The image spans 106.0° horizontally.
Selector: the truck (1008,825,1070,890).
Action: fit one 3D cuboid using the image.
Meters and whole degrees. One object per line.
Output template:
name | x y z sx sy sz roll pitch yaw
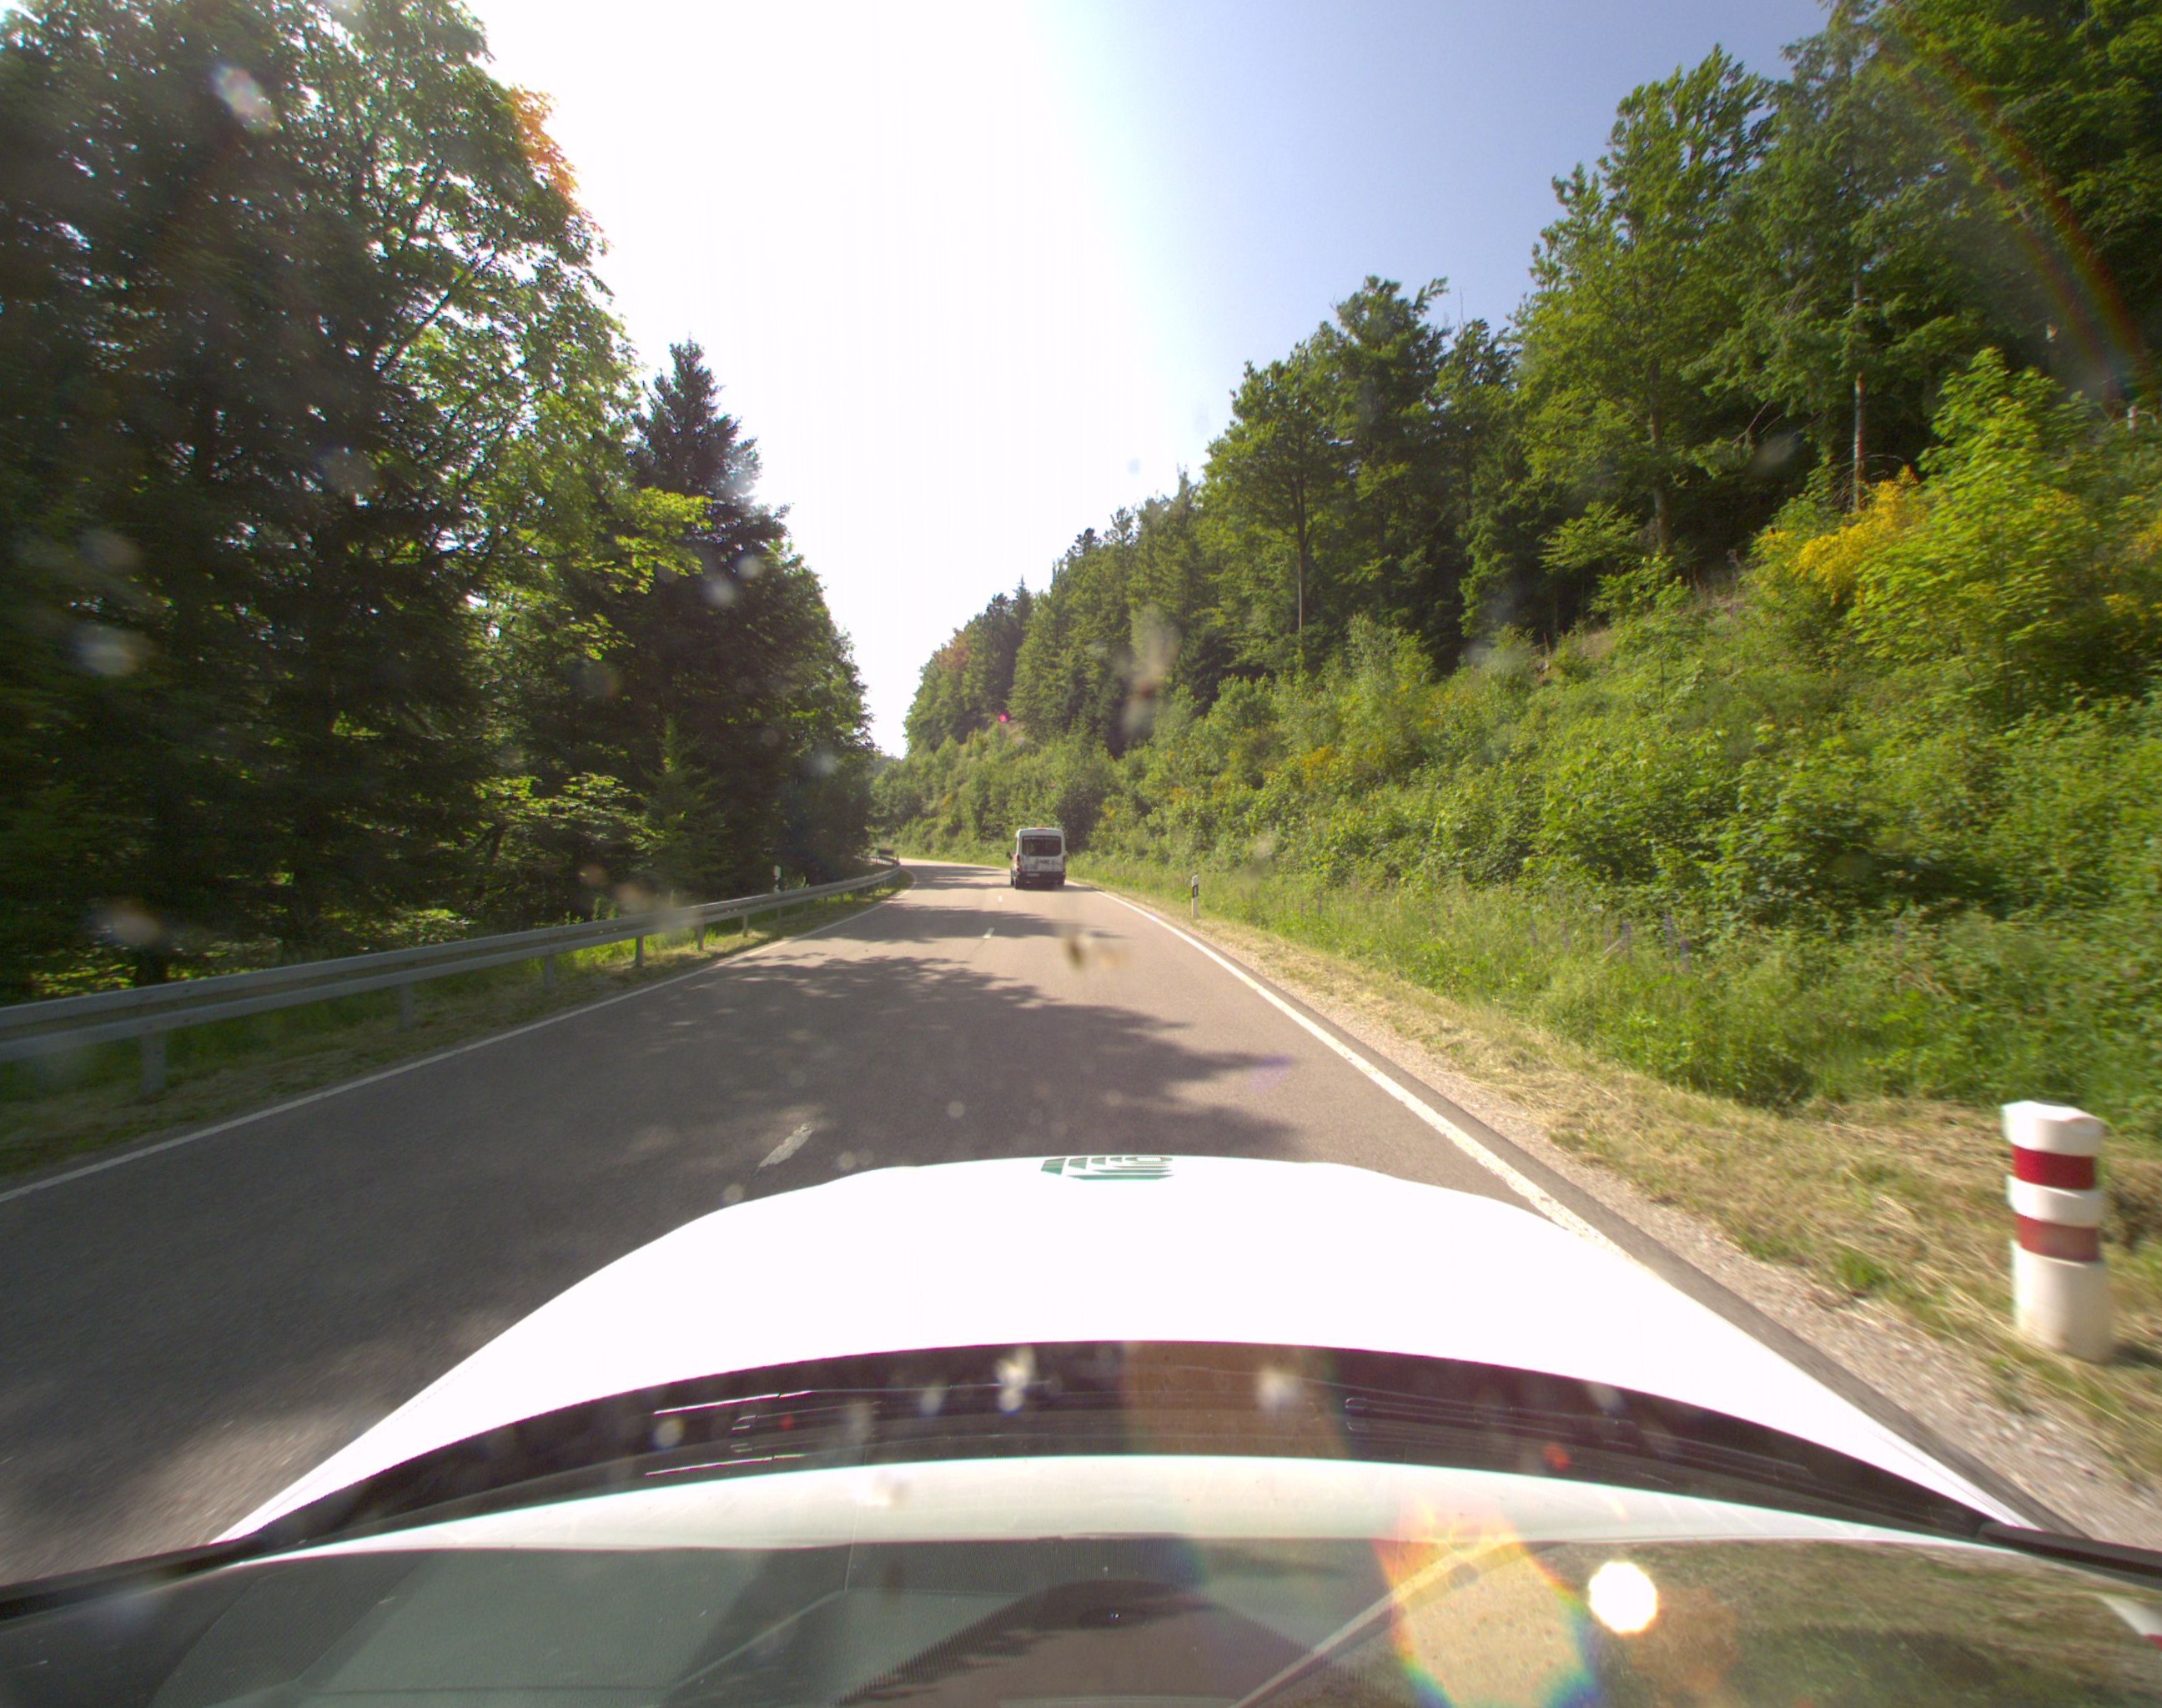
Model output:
truck | -1.860 0.127 34.546 2.114 2.498 5.344 -1 0 -8
